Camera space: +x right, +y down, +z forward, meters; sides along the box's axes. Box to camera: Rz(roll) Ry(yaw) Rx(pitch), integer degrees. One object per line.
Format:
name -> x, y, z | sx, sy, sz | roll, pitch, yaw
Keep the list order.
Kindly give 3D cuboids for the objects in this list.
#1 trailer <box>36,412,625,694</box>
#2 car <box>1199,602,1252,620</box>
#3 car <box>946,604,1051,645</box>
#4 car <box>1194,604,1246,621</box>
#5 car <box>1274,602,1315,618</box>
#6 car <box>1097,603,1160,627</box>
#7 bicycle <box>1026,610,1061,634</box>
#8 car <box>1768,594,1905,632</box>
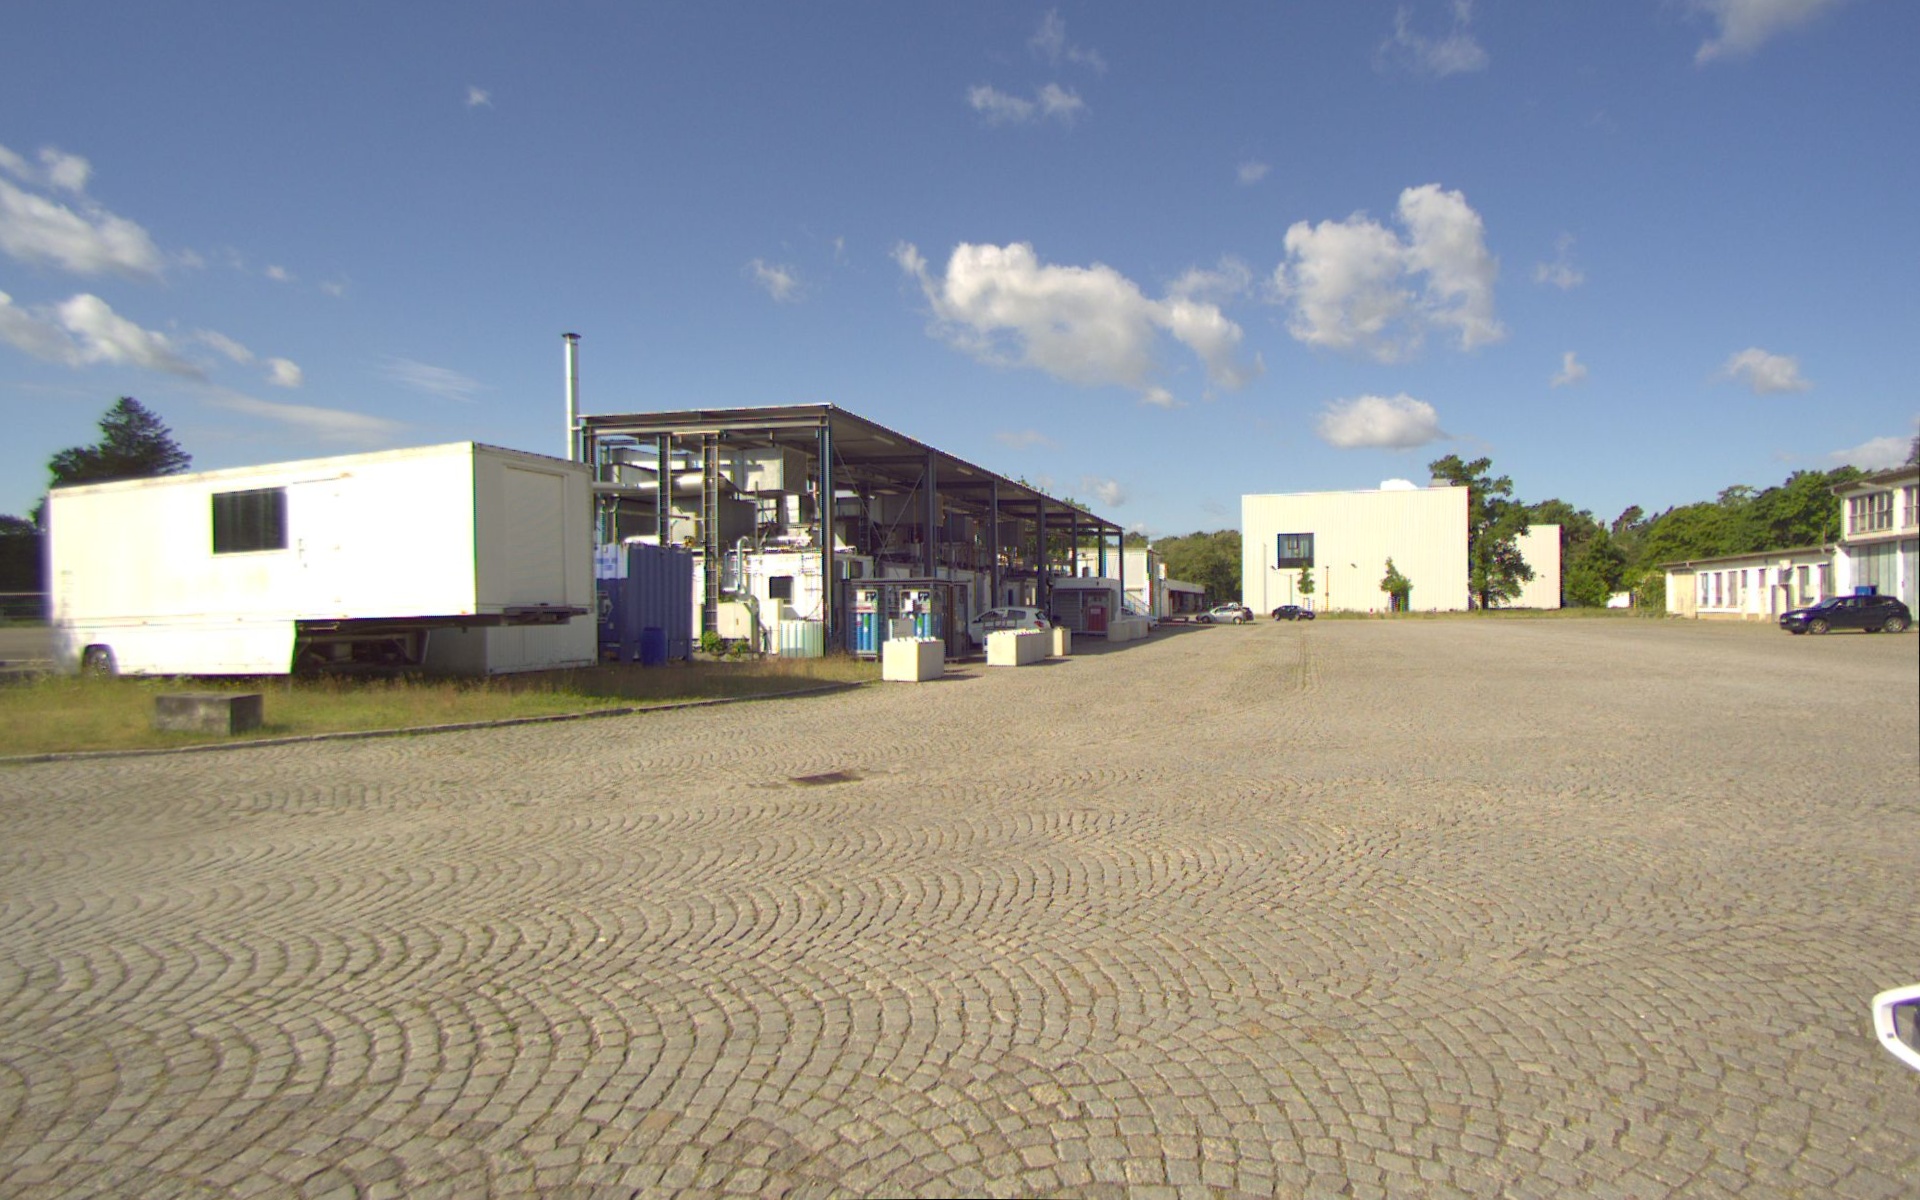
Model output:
trailer -> -11.055, -0.593, 17.335 | 10.674, 3.963, 2.780 | -1, 0, 21
car -> 22.948, 0.969, 86.804 | 4.272, 1.489, 1.741 | -1, 0, 18
car -> 1.379, 0.878, 35.619 | 3.404, 1.394, 1.612 | -1, 0, 16
car -> 21.701, 1.041, 83.809 | 4.105, 1.422, 1.741 | -1, 0, 18
car -> 31.139, 0.960, 93.723 | 1.711, 1.448, 4.064 | -1, -1, -14
car -> 10.344, 0.938, 61.711 | 3.623, 1.427, 1.676 | -1, 0, 16
bicycle -> 4.078, 1.064, 48.952 | 1.638, 1.151, 0.485 | -1, 0, 18
car -> 37.114, 0.552, 42.660 | 3.995, 1.489, 1.741 | -1, -1, 18
